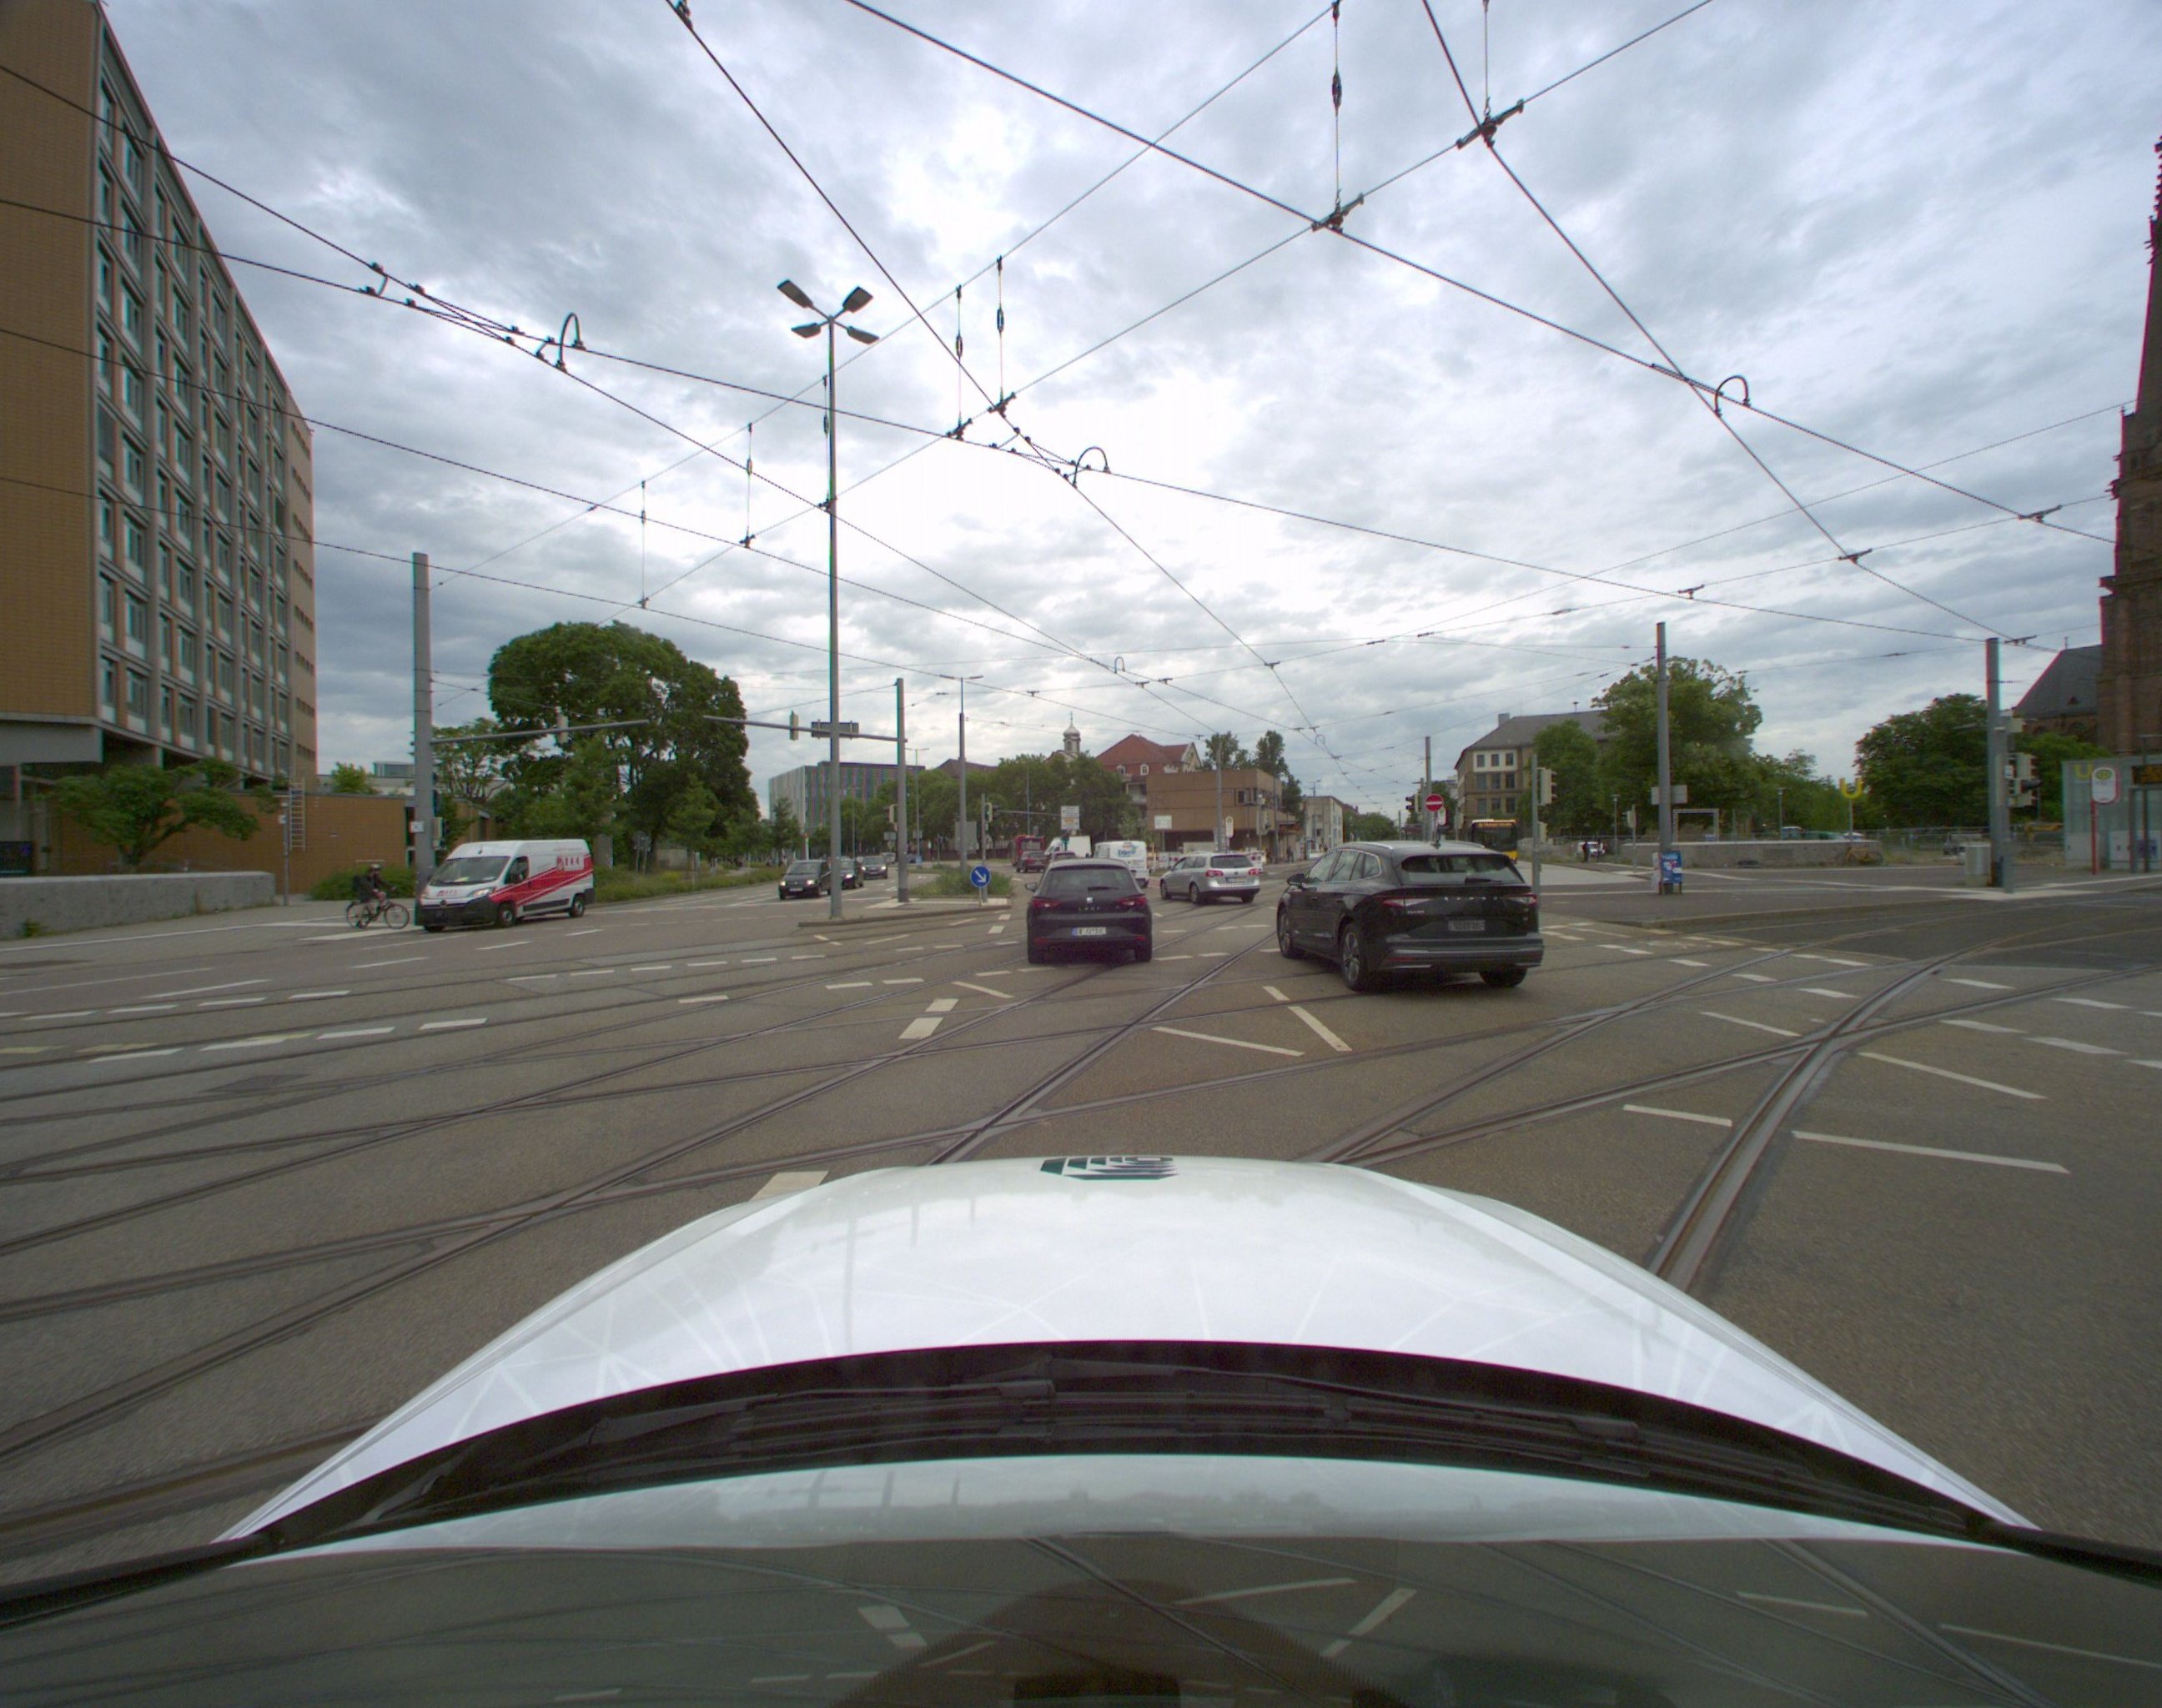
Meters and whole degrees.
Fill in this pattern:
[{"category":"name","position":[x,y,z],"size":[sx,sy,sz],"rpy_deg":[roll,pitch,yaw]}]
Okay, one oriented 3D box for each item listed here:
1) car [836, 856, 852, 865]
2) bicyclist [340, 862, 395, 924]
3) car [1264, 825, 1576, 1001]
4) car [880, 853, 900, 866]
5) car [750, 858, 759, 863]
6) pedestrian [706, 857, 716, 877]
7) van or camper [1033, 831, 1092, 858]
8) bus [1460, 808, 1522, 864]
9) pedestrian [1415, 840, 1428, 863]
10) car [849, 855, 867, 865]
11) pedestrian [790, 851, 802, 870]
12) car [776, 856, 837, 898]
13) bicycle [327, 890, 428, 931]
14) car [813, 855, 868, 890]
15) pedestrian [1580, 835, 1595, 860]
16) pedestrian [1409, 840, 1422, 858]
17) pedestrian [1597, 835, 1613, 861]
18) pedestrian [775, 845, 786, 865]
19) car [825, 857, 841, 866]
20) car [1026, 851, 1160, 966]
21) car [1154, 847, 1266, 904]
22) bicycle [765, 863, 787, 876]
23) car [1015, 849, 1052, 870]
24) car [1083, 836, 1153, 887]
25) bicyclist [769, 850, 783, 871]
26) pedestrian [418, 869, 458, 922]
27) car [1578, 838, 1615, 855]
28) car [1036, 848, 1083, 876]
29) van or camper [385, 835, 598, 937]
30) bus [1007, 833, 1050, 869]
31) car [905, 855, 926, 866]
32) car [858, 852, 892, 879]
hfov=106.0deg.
[{"category":"car","position":[-43.049,1.219,147.878],"size":[2.006,1.640,3.961],"rpy_deg":[-1,0,-30]},{"category":"bicyclist","position":[-19.810,1.067,22.627],"size":[0.810,1.656,0.794],"rpy_deg":[0,0,1]},{"category":"car","position":[3.777,0.547,10.089],"size":[1.898,1.658,4.512],"rpy_deg":[-1,0,-1]},{"category":"car","position":[-31.035,0.838,131.970],"size":[2.006,2.013,3.961],"rpy_deg":[-1,0,-31]},{"category":"car","position":[-83.005,1.649,207.029],"size":[1.723,1.265,3.305],"rpy_deg":[-1,-1,-32]},{"category":"pedestrian","position":[-29.579,1.034,65.138],"size":[0.562,1.541,0.752],"rpy_deg":[-1,0,-12]},{"category":"van or camper","position":[-2.362,-1.260,105.445],"size":[7.180,3.332,2.847],"rpy_deg":[-1,-1,-33]},{"category":"bus","position":[27.270,-1.139,54.673],"size":[2.989,3.267,13.116],"rpy_deg":[-1,0,24]},{"category":"pedestrian","position":[27.095,-0.215,64.820],"size":[0.816,1.808,1.027],"rpy_deg":[-1,0,27]},{"category":"car","position":[-40.935,1.110,149.192],"size":[2.008,1.750,3.957],"rpy_deg":[-1,0,-34]},{"category":"pedestrian","position":[-27.294,0.612,77.982],"size":[0.893,1.842,0.665],"rpy_deg":[-1,0,-12]},{"category":"car","position":[-11.100,0.891,33.145],"size":[1.617,1.515,3.656],"rpy_deg":[-2,1,-7]},{"category":"bicycle","position":[-19.511,1.558,22.620],"size":[2.106,1.028,0.795],"rpy_deg":[2,1,0]},{"category":"car","position":[-11.873,0.880,40.481],"size":[1.869,1.508,4.468],"rpy_deg":[-3,1,-7]},{"category":"pedestrian","position":[37.084,-0.491,59.579],"size":[0.816,1.808,1.027],"rpy_deg":[-1,0,27]},{"category":"pedestrian","position":[28.820,-0.431,70.158],"size":[1.008,1.575,1.014],"rpy_deg":[-1,0,26]},{"category":"pedestrian","position":[37.992,-0.435,59.076],"size":[0.816,1.853,1.027],"rpy_deg":[-1,0,27]},{"category":"pedestrian","position":[-27.416,0.077,74.416],"size":[0.757,1.842,0.763],"rpy_deg":[-2,0,-11]},{"category":"car","position":[-47.244,1.461,155.172],"size":[2.007,1.681,3.972],"rpy_deg":[-1,0,-30]},{"category":"car","position":[0.042,0.694,12.602],"size":[1.742,1.464,3.995],"rpy_deg":[0,1,-4]},{"category":"car","position":[3.718,0.569,24.312],"size":[1.722,1.482,4.609],"rpy_deg":[-2,1,-12]},{"category":"bicycle","position":[-27.083,1.366,72.429],"size":[0.782,1.159,1.916],"rpy_deg":[-1,0,19]},{"category":"car","position":[-3.744,0.427,63.604],"size":[1.998,1.566,4.182],"rpy_deg":[-1,0,-16]},{"category":"car","position":[1.537,0.299,35.629],"size":[1.994,2.019,5.015],"rpy_deg":[-1,0,-10]},{"category":"bicyclist","position":[-27.095,0.572,72.427],"size":[0.784,1.844,0.838],"rpy_deg":[-1,0,17]},{"category":"pedestrian","position":[-19.523,1.237,24.745],"size":[0.577,1.551,0.748],"rpy_deg":[-2,1,-4]},{"category":"car","position":[52.718,-0.719,83.332],"size":[1.896,1.662,4.013],"rpy_deg":[-1,0,12]},{"category":"car","position":[-1.361,0.482,50.636],"size":[1.862,1.600,4.181],"rpy_deg":[-1,0,-17]},{"category":"van or camper","position":[-16.754,0.787,23.659],"size":[2.274,2.527,5.567],"rpy_deg":[-2,1,-3]},{"category":"bus","position":[-5.412,-0.323,82.010],"size":[3.058,3.297,12.339],"rpy_deg":[-1,0,-9]},{"category":"car","position":[-24.914,0.932,122.759],"size":[2.006,1.539,3.963],"rpy_deg":[-1,0,-29]},{"category":"car","position":[-14.447,0.773,57.389],"size":[1.870,1.725,4.697],"rpy_deg":[-2,1,-9]}]
